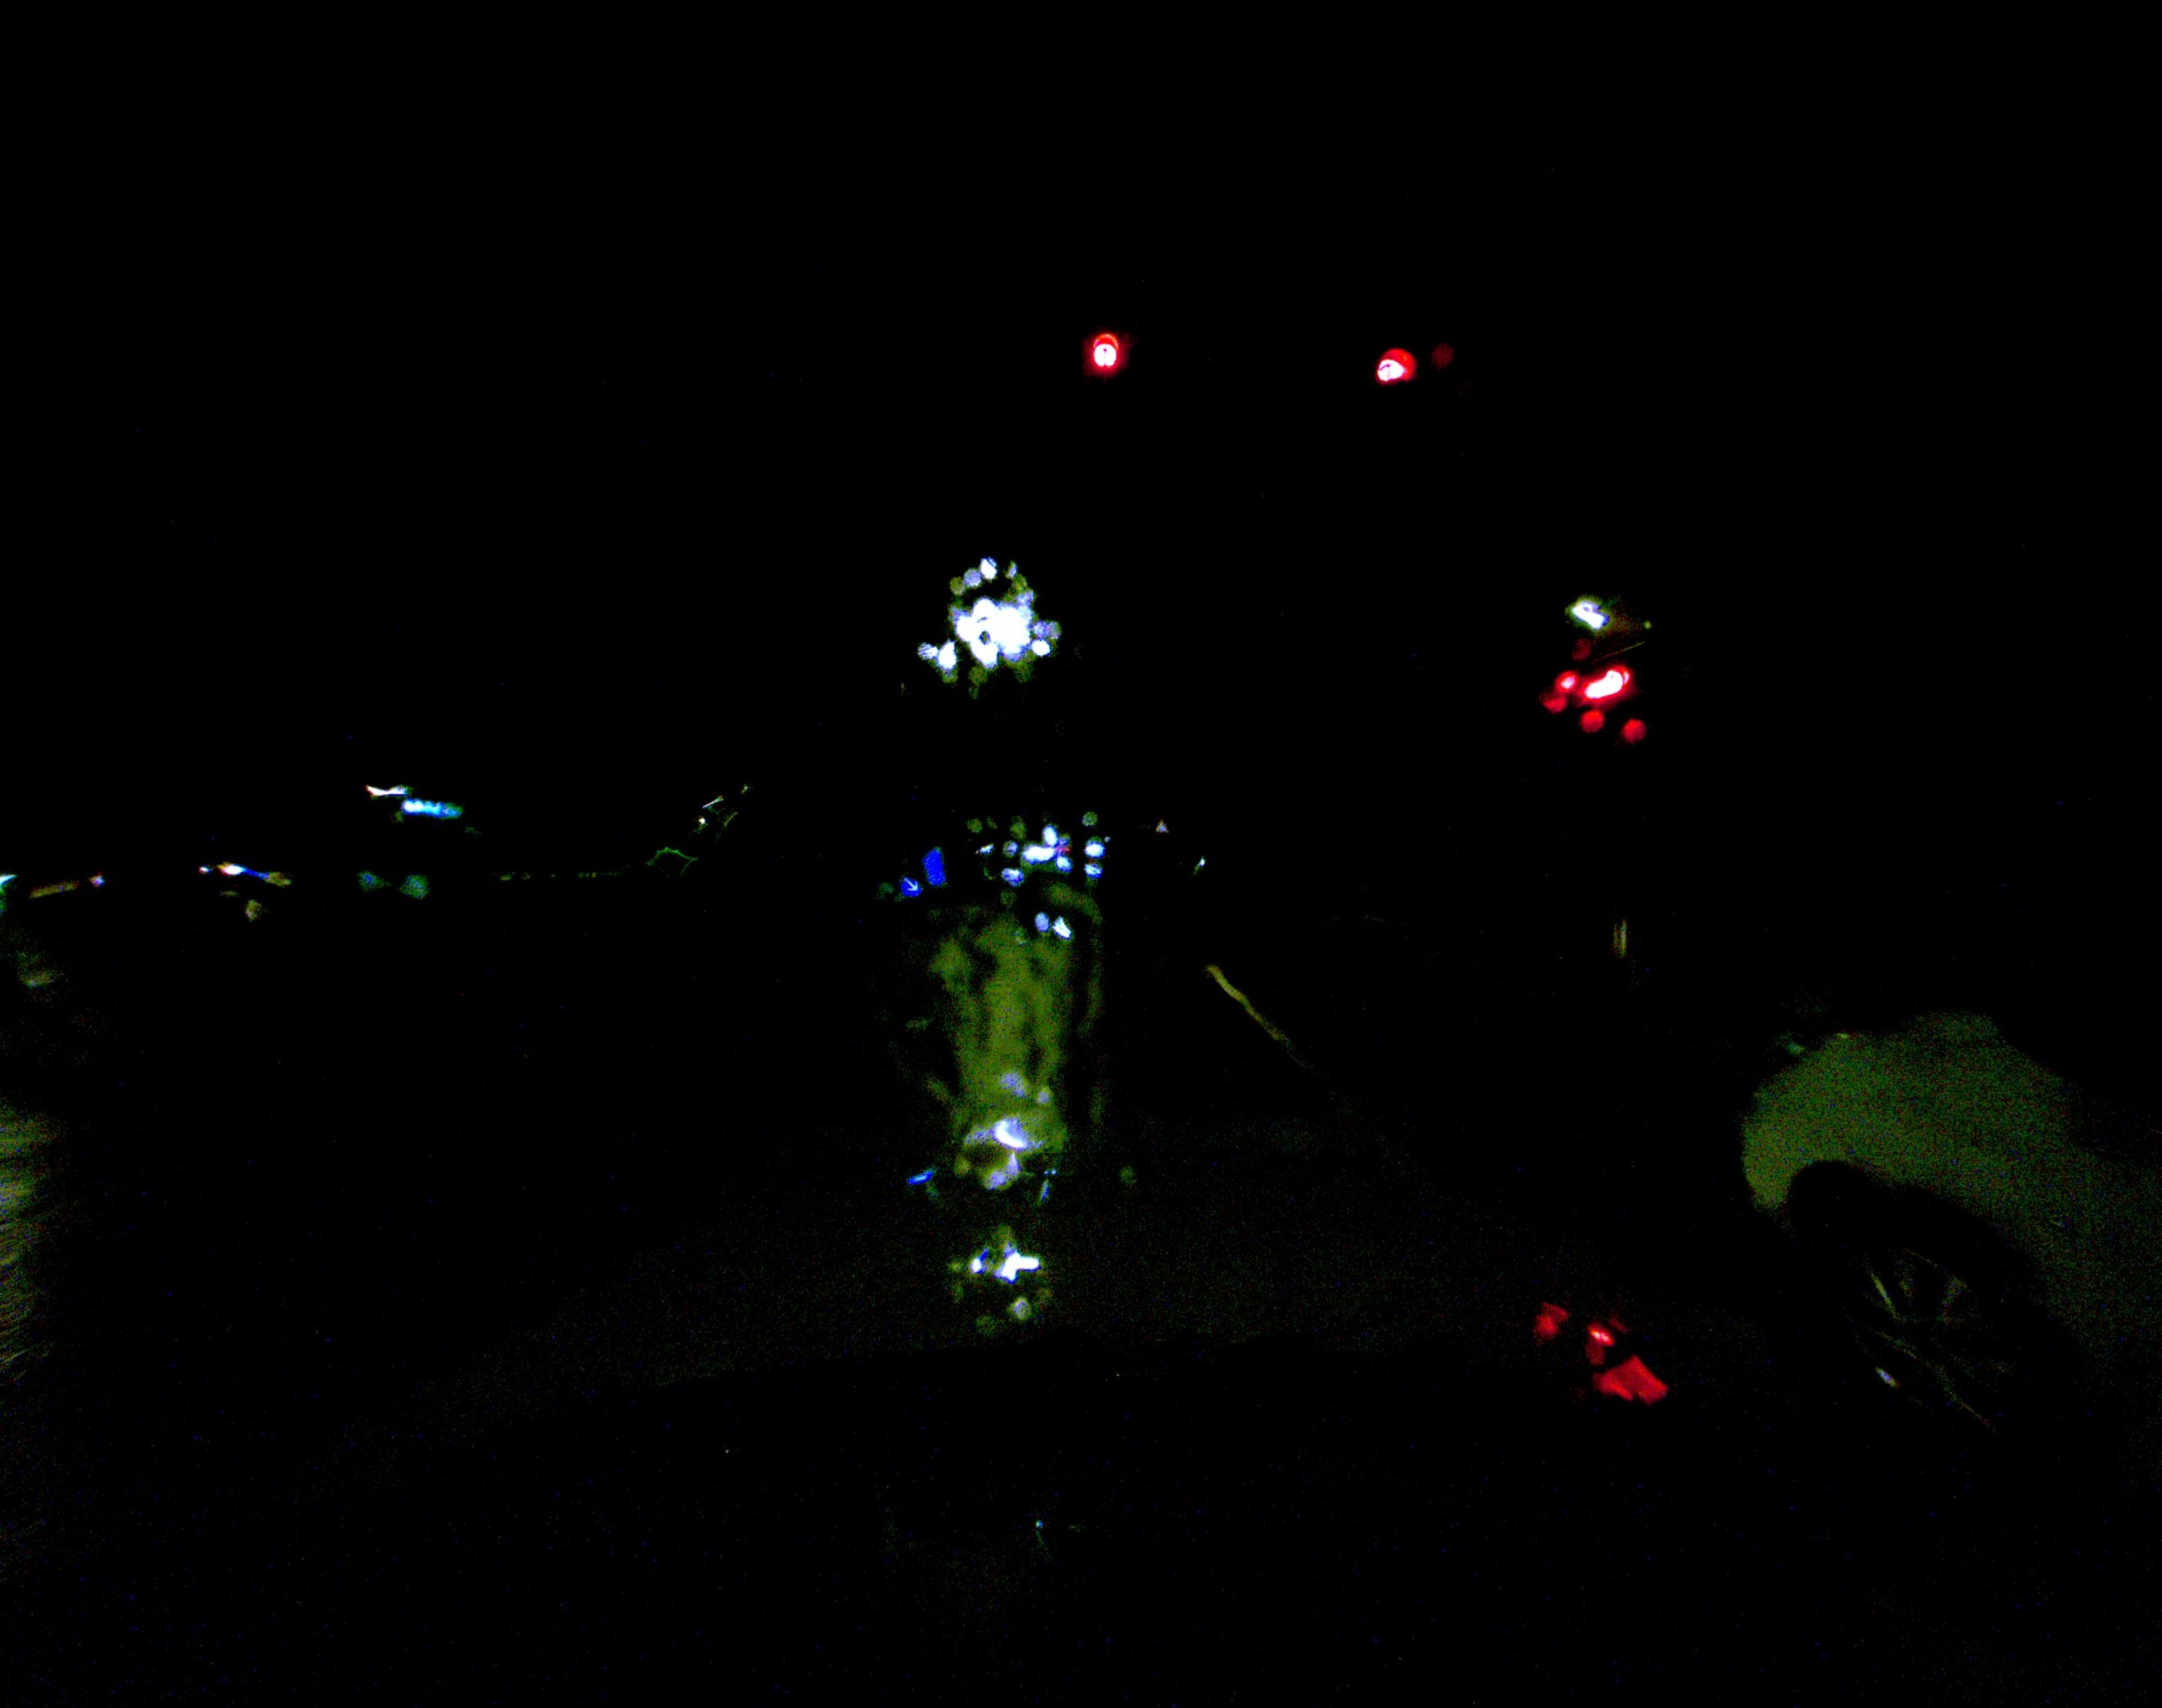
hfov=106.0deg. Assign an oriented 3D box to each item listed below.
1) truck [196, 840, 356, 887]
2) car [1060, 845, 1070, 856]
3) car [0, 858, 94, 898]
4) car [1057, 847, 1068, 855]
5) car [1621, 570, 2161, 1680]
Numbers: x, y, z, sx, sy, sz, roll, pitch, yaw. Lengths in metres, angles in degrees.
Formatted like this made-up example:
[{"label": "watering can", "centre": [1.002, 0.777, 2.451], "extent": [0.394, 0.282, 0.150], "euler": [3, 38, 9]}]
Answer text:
[{"label": "truck", "centre": [-41.532, 0.468, 42.308], "extent": [1.985, 2.271, 6.027], "euler": [0, 0, 4]}, {"label": "car", "centre": [-3.056, -0.730, 153.905], "extent": [1.786, 2.022, 4.578], "euler": [-1, 0, 0]}, {"label": "car", "centre": [-41.570, 0.909, 31.706], "extent": [1.721, 1.519, 3.988], "euler": [0, 0, -9]}, {"label": "car", "centre": [-4.307, -0.741, 193.198], "extent": [1.983, 1.717, 4.008], "euler": [3, -1, 7]}, {"label": "car", "centre": [2.858, 0.483, 0.651], "extent": [1.786, 2.022, 4.578], "euler": [-1, 0, 0]}]
